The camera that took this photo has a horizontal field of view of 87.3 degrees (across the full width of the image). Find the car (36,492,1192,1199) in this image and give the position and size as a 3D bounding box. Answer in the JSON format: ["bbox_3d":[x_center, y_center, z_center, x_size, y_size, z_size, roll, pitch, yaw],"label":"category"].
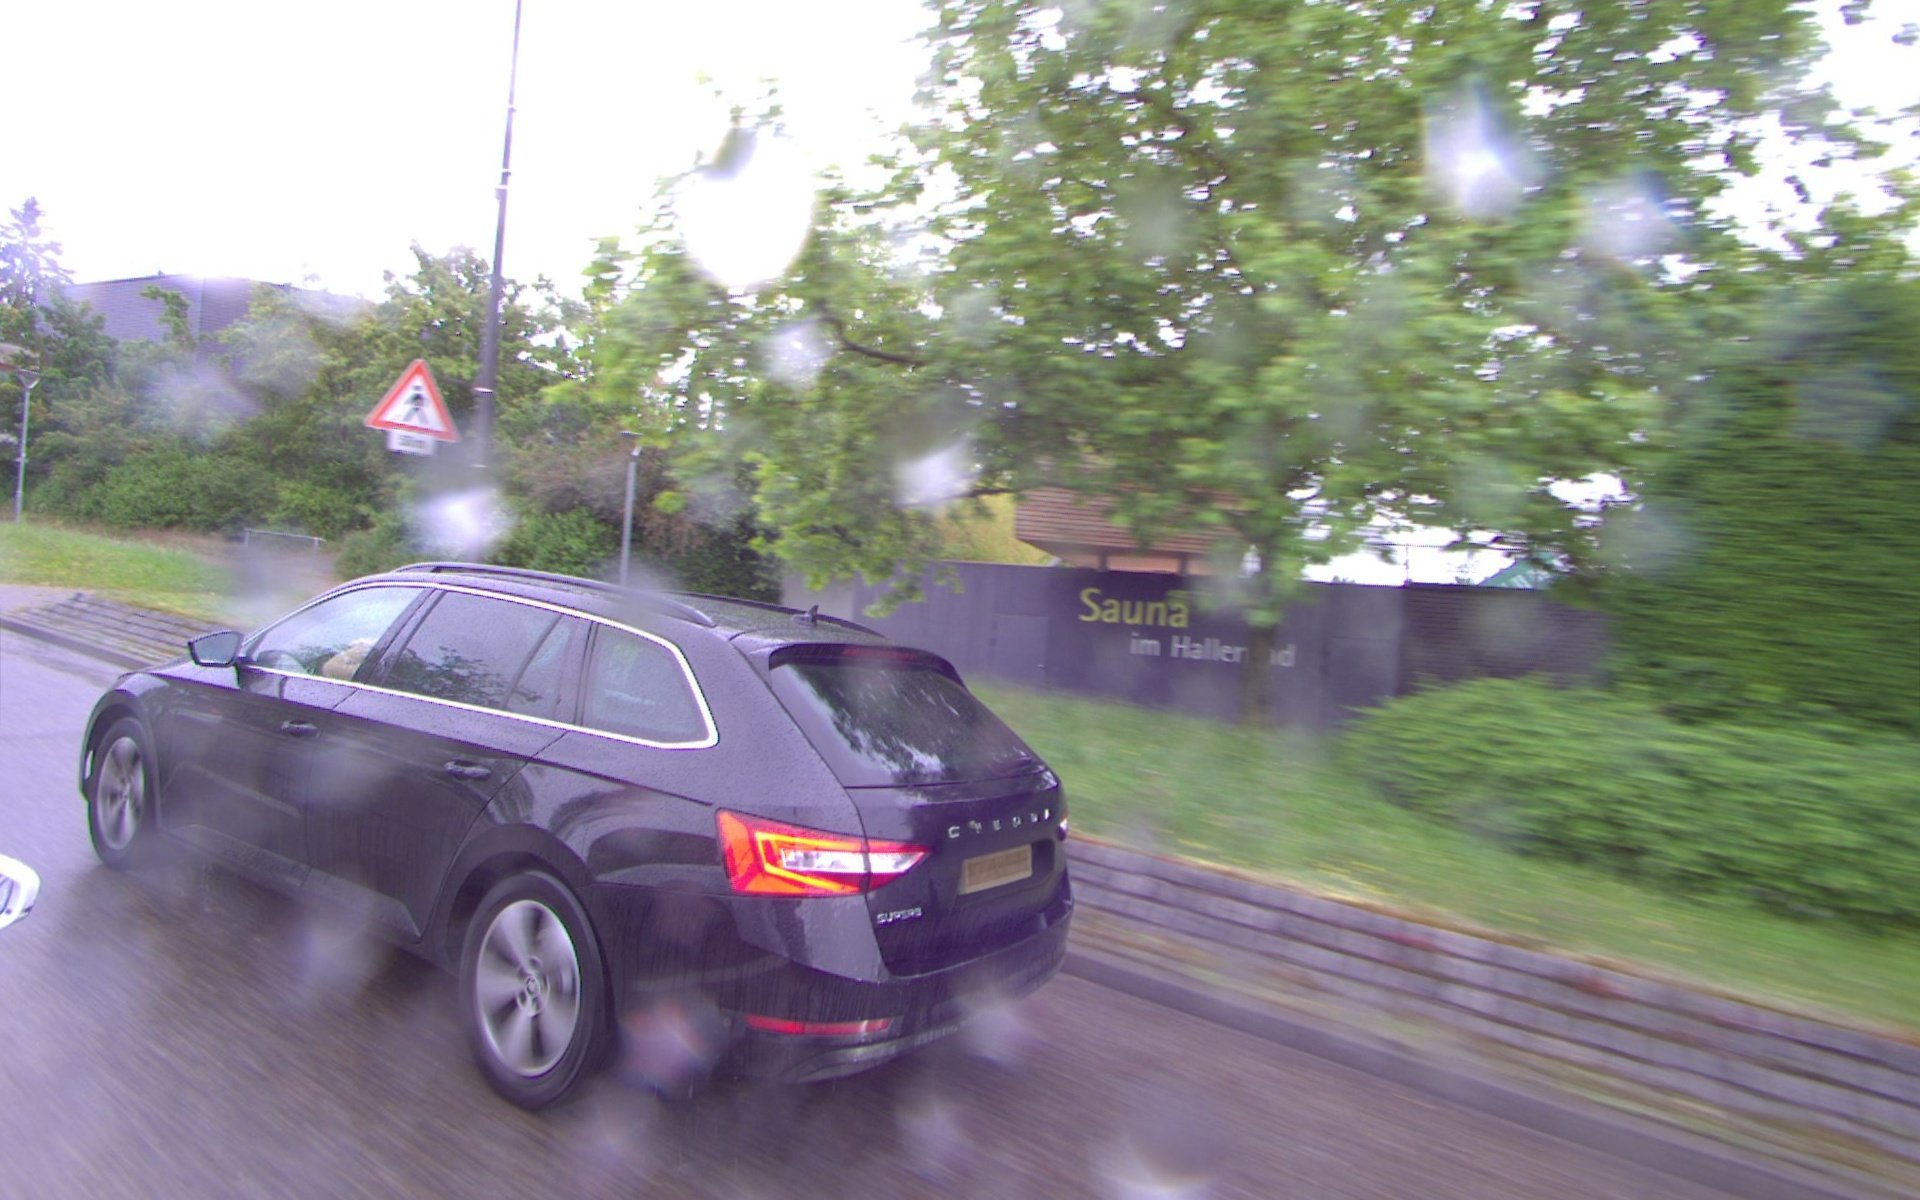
[{"bbox_3d":[-1.624,0.569,4.153,4.533,1.523,1.959,5,-4,32],"label":"car"}]
